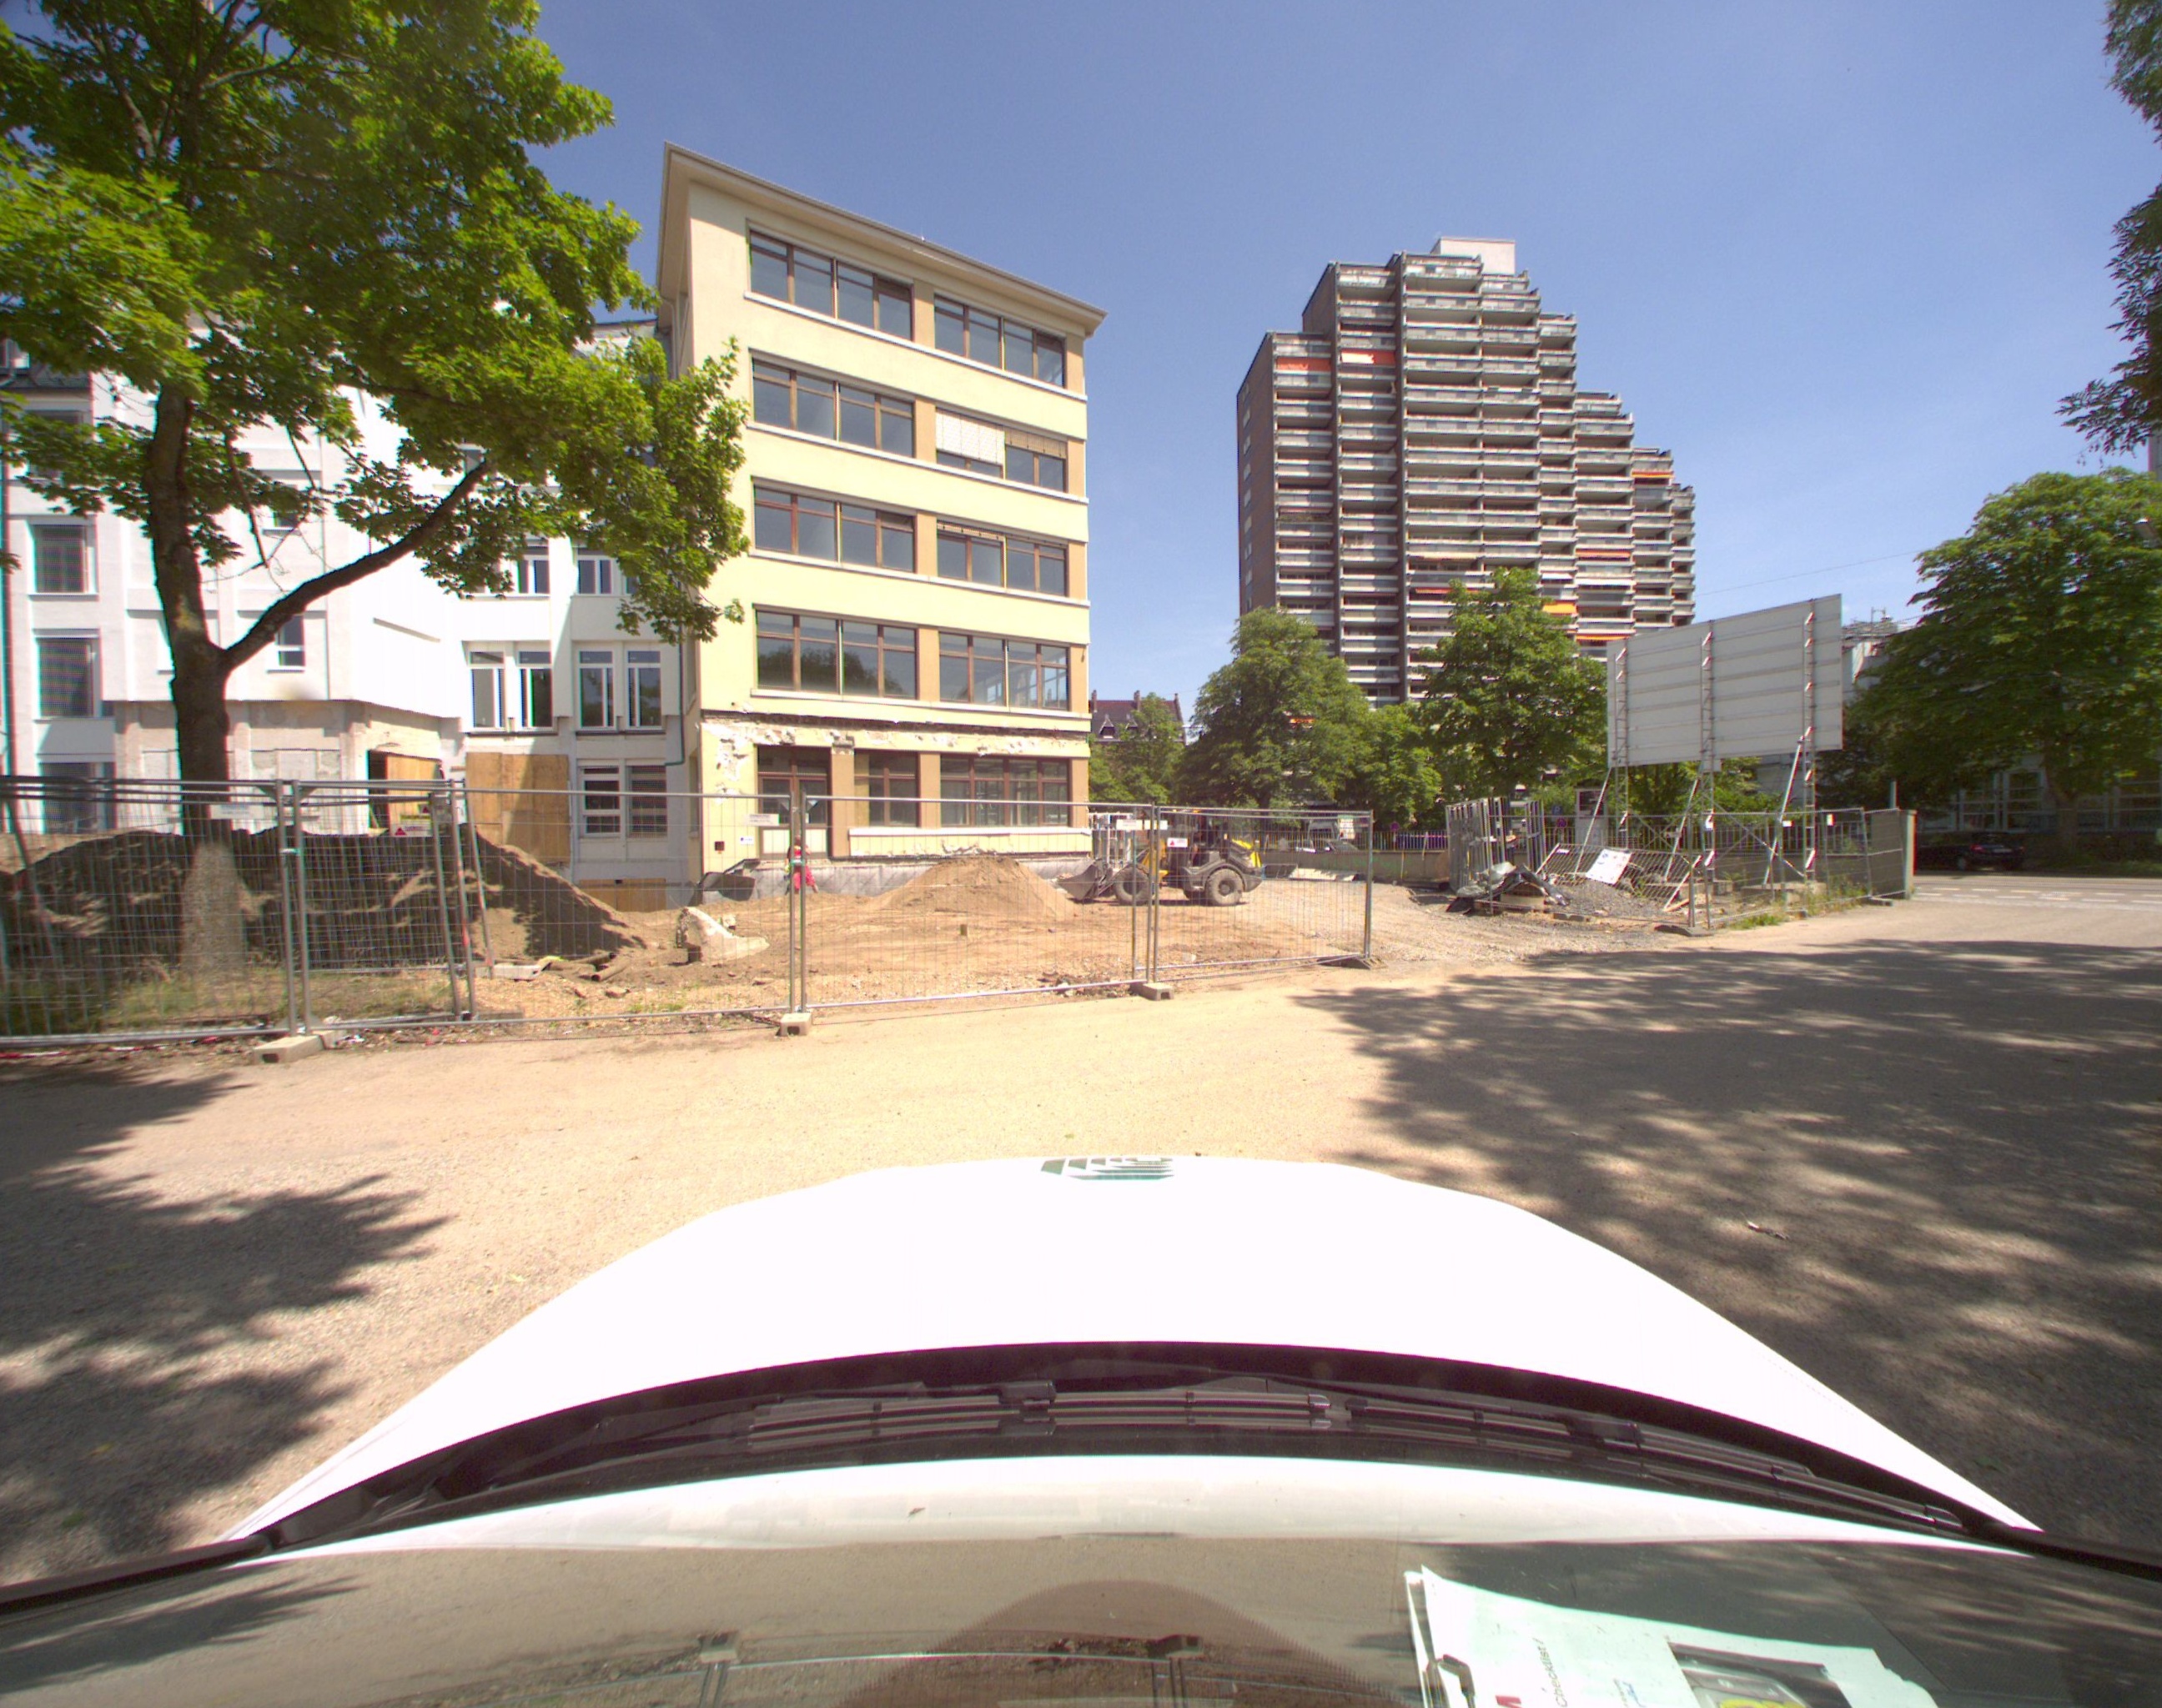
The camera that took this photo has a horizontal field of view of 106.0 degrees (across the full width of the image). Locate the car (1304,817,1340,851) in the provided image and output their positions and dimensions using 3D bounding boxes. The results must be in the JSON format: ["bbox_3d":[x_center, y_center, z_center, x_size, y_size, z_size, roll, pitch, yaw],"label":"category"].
[{"bbox_3d":[17.353,-1.403,58.436,2.166,2.258,4.893,-1,1,20],"label":"car"}]

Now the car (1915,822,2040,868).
[{"bbox_3d":[33.899,-0.334,30.943,1.992,1.629,3.955,-1,1,28],"label":"car"}]

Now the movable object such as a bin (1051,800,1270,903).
[{"bbox_3d":[1.927,-0.076,21.201,5.389,2.464,2.366,1,1,-3],"label":"movable object such as a bin"}]

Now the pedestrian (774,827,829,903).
[{"bbox_3d":[-6.989,0.252,20.380,0.991,1.846,0.906,-1,0,-42],"label":"pedestrian"}]

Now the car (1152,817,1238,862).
[{"bbox_3d":[6.357,-0.798,46.022,2.006,2.416,5.192,-1,1,-31],"label":"car"}]

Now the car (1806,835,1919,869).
[{"bbox_3d":[31.984,-0.100,33.465,1.898,1.310,3.950,-1,1,20],"label":"car"}]
